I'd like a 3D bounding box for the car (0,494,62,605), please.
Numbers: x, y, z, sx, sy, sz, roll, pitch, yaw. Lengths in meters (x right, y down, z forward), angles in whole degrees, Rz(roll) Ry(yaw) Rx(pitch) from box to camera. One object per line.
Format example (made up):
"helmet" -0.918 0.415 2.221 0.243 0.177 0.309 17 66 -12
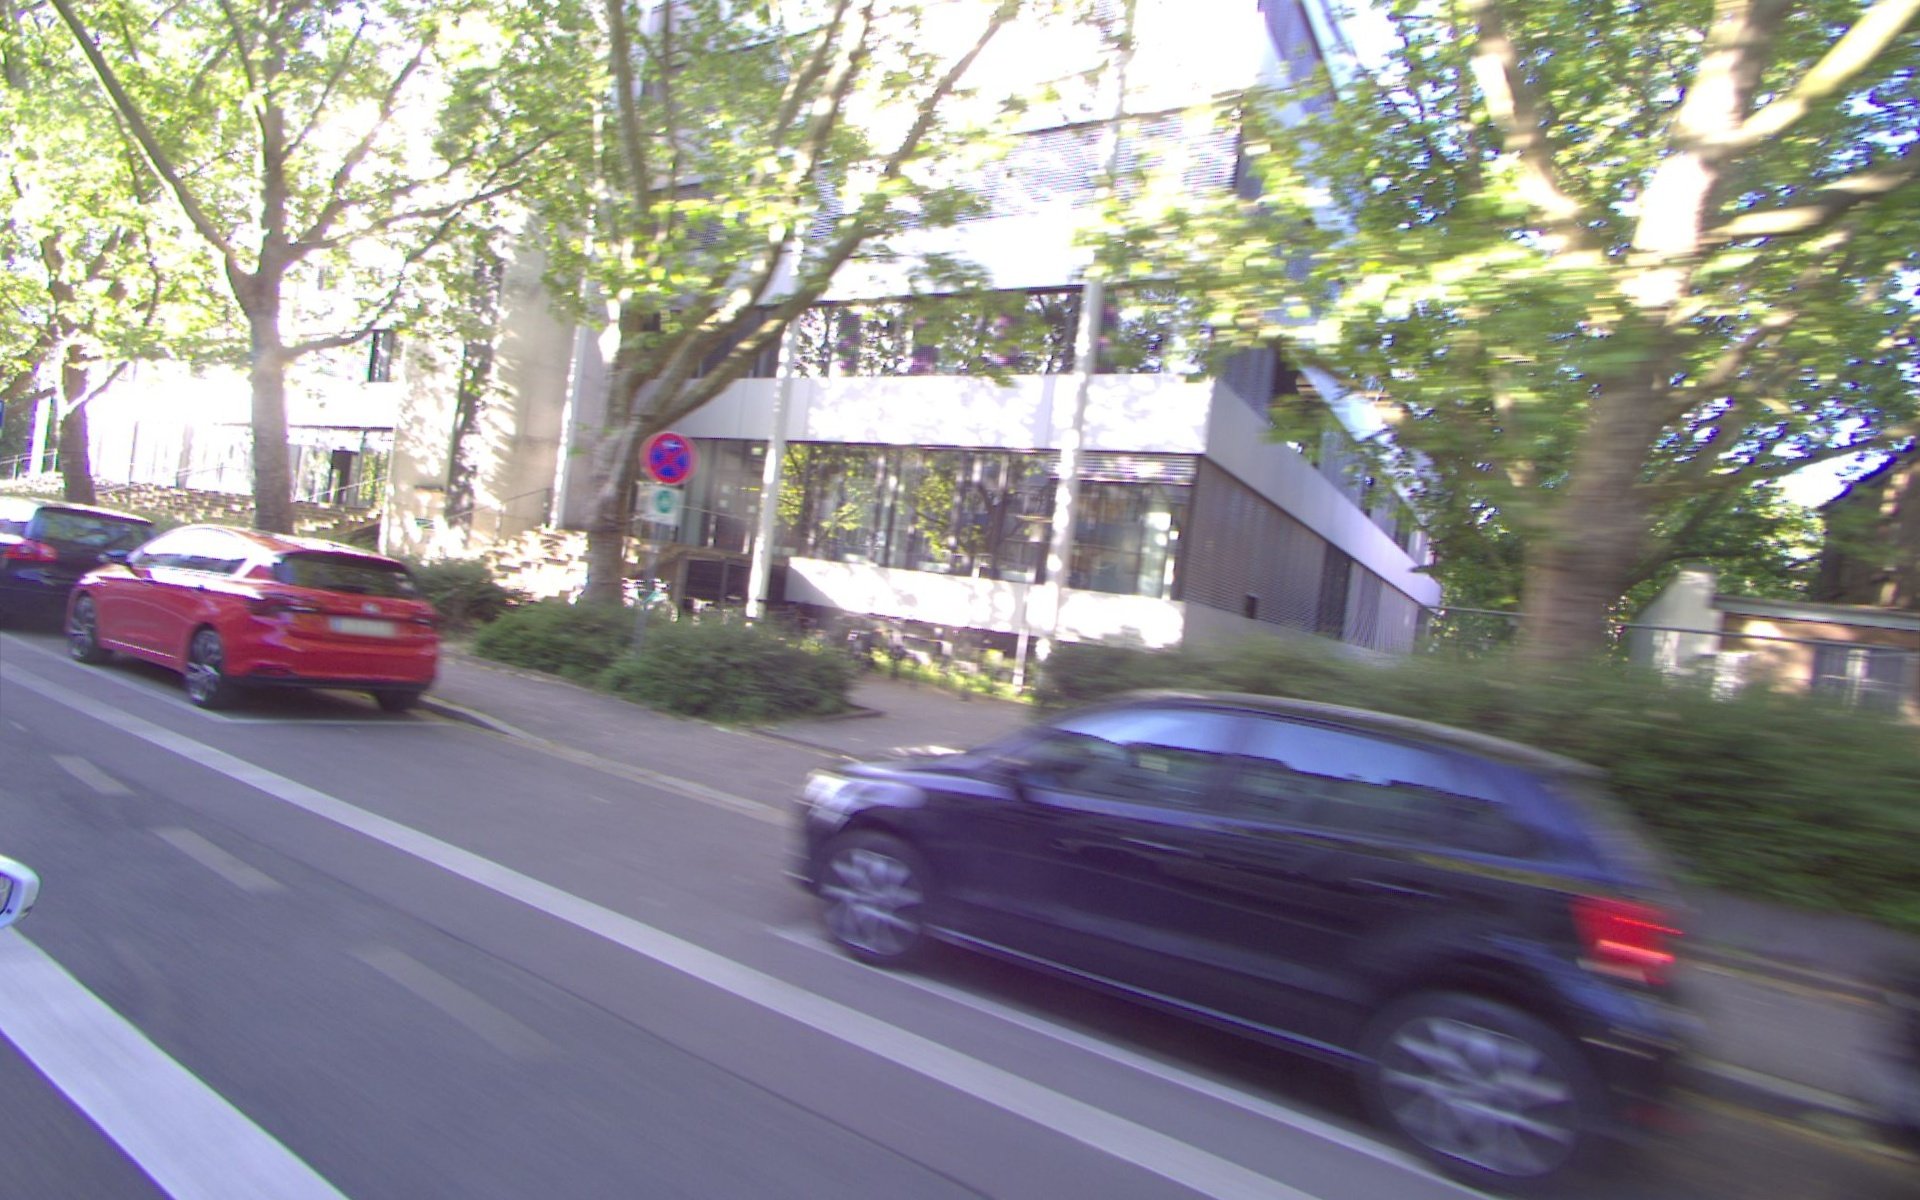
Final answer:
"car" -15.172 -0.992 14.644 4.360 1.465 1.698 7 -2 29

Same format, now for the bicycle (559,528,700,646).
"bicycle" -6.488 -0.205 19.929 0.730 2.038 2.601 8 0 31

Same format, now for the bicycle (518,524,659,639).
"bicycle" -7.495 -0.328 20.470 0.730 2.038 2.601 8 0 31

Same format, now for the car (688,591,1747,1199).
"car" 0.897 1.030 4.655 3.951 1.520 1.698 7 -2 29

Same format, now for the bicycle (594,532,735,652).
"bicycle" -5.649 -0.104 19.437 0.730 2.038 2.601 8 0 31

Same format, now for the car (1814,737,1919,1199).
"car" 4.999 1.506 2.064 4.542 1.646 1.781 7 -2 30

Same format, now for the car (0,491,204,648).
"car" -11.147 -0.479 12.227 3.999 1.482 1.697 7 -3 33

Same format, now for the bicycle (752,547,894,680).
"bicycle" -2.307 0.293 17.381 0.730 2.038 2.601 8 0 31

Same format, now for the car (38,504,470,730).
"car" -6.821 0.115 9.602 4.246 1.495 1.697 7 -2 32

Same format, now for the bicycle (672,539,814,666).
"bicycle" -3.900 0.103 18.353 0.730 2.038 2.601 8 0 31

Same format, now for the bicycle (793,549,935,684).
"bicycle" -1.545 0.340 16.873 0.730 2.038 2.601 8 0 31

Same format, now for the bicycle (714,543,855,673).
"bicycle" -3.051 0.205 17.853 0.730 2.038 2.601 8 0 31

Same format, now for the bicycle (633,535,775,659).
"bicycle" -4.745 0.003 18.878 0.730 2.038 2.601 8 0 31
